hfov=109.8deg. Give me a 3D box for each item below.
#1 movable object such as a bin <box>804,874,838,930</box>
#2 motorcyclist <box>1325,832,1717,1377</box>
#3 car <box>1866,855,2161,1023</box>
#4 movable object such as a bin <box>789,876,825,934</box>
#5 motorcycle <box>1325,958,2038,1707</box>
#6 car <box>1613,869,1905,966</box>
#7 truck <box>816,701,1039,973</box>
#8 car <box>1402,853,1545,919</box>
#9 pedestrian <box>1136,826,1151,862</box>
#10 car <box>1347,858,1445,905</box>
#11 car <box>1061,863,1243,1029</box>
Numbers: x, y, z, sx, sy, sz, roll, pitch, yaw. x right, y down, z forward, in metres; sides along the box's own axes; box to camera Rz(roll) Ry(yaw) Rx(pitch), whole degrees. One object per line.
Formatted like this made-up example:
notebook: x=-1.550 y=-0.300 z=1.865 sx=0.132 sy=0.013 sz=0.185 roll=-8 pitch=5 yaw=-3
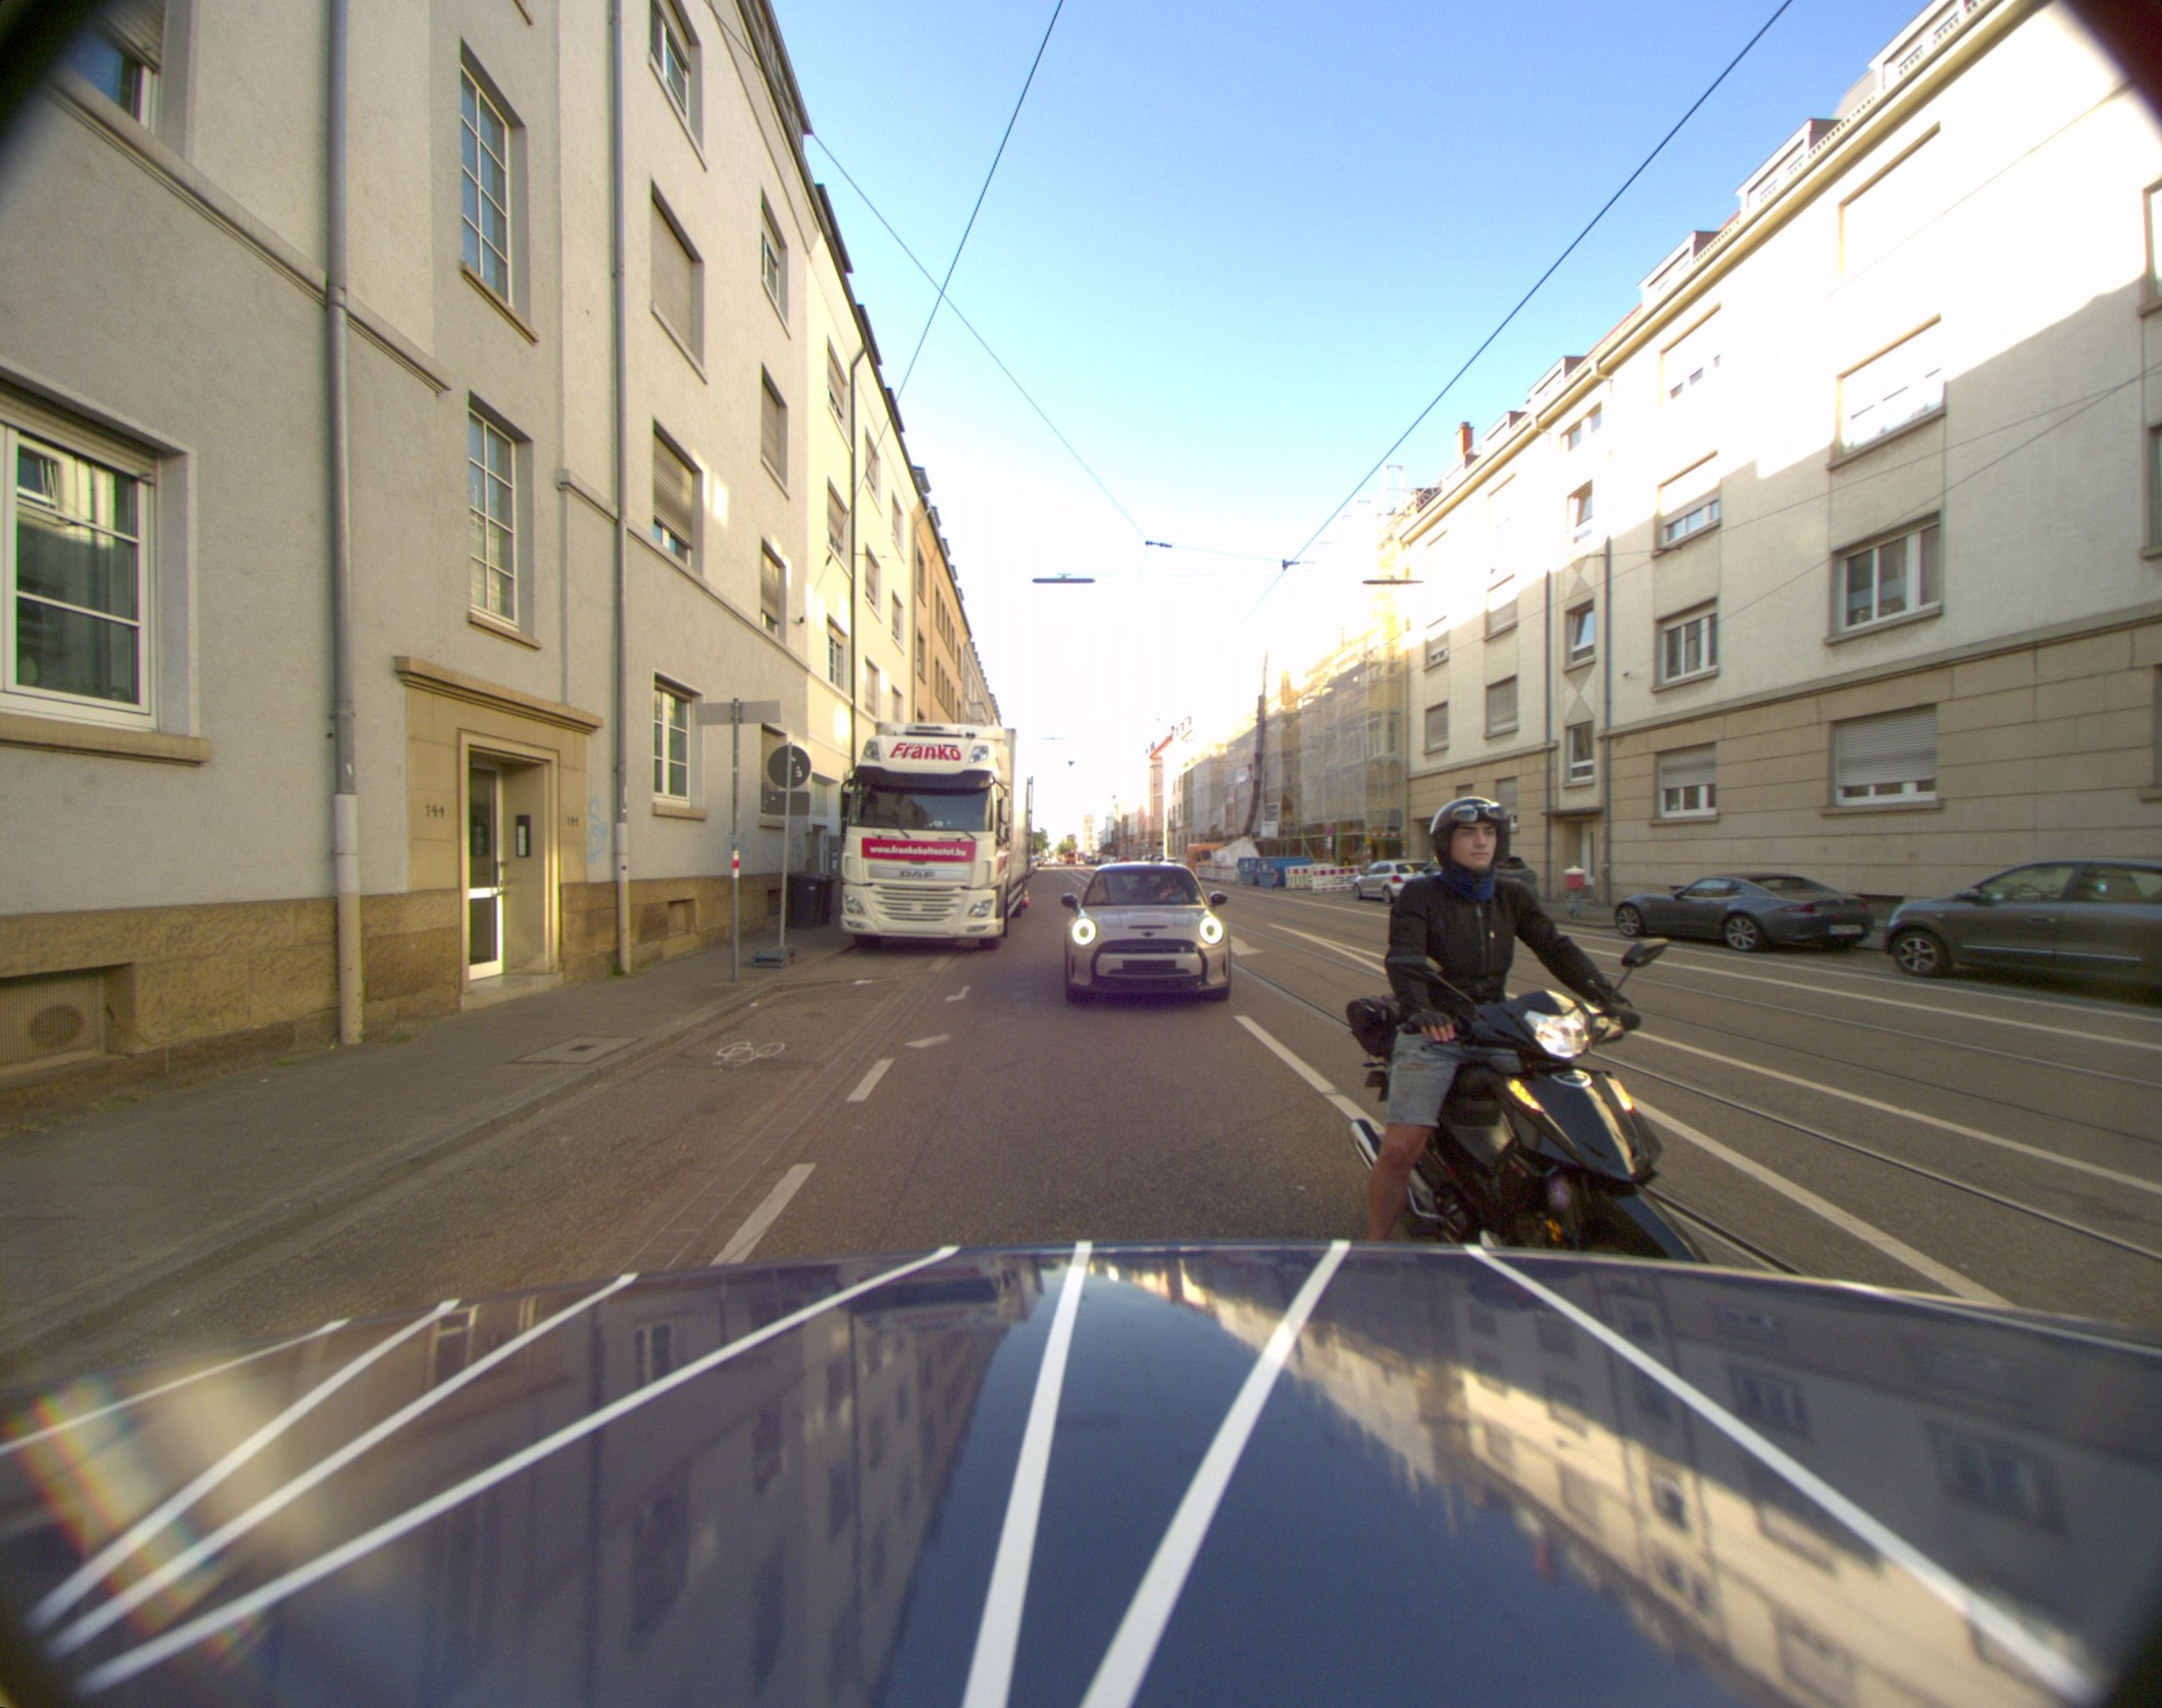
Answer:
movable object such as a bin: x=-5.355 y=0.983 z=15.657 sx=0.512 sy=1.085 sz=0.495 roll=-2 pitch=1 yaw=-4
motorcyclist: x=1.323 y=0.701 z=2.413 sx=0.862 sy=1.496 sz=0.598 roll=-2 pitch=1 yaw=1
car: x=11.395 y=0.840 z=8.432 sx=1.670 sy=1.563 sz=3.496 roll=-2 pitch=1 yaw=-2
movable object such as a bin: x=-5.405 y=0.999 z=14.998 sx=0.512 sy=1.085 sz=0.495 roll=-2 pitch=1 yaw=-4
motorcycle: x=1.311 y=1.068 z=2.239 sx=0.538 sy=1.212 sz=1.981 roll=-2 pitch=1 yaw=1
car: x=11.250 y=0.973 z=12.969 sx=1.751 sy=1.269 sz=3.488 roll=-2 pitch=1 yaw=-4
truck: x=-2.595 y=-0.252 z=17.146 sx=2.899 sy=3.939 sz=11.704 roll=-2 pitch=0 yaw=-2
car: x=10.823 y=0.815 z=21.323 sx=1.712 sy=1.582 sz=4.112 roll=-2 pitch=1 yaw=-3
pedestrian: x=7.774 y=-1.285 z=94.347 sx=1.723 sy=4.377 sz=1.153 roll=-2 pitch=1 yaw=2
car: x=10.635 y=0.871 z=25.895 sx=1.637 sy=1.383 sz=3.643 roll=-2 pitch=1 yaw=-3
car: x=0.658 y=0.878 z=9.079 sx=1.692 sy=1.495 sz=4.000 roll=0 pitch=0 yaw=0
